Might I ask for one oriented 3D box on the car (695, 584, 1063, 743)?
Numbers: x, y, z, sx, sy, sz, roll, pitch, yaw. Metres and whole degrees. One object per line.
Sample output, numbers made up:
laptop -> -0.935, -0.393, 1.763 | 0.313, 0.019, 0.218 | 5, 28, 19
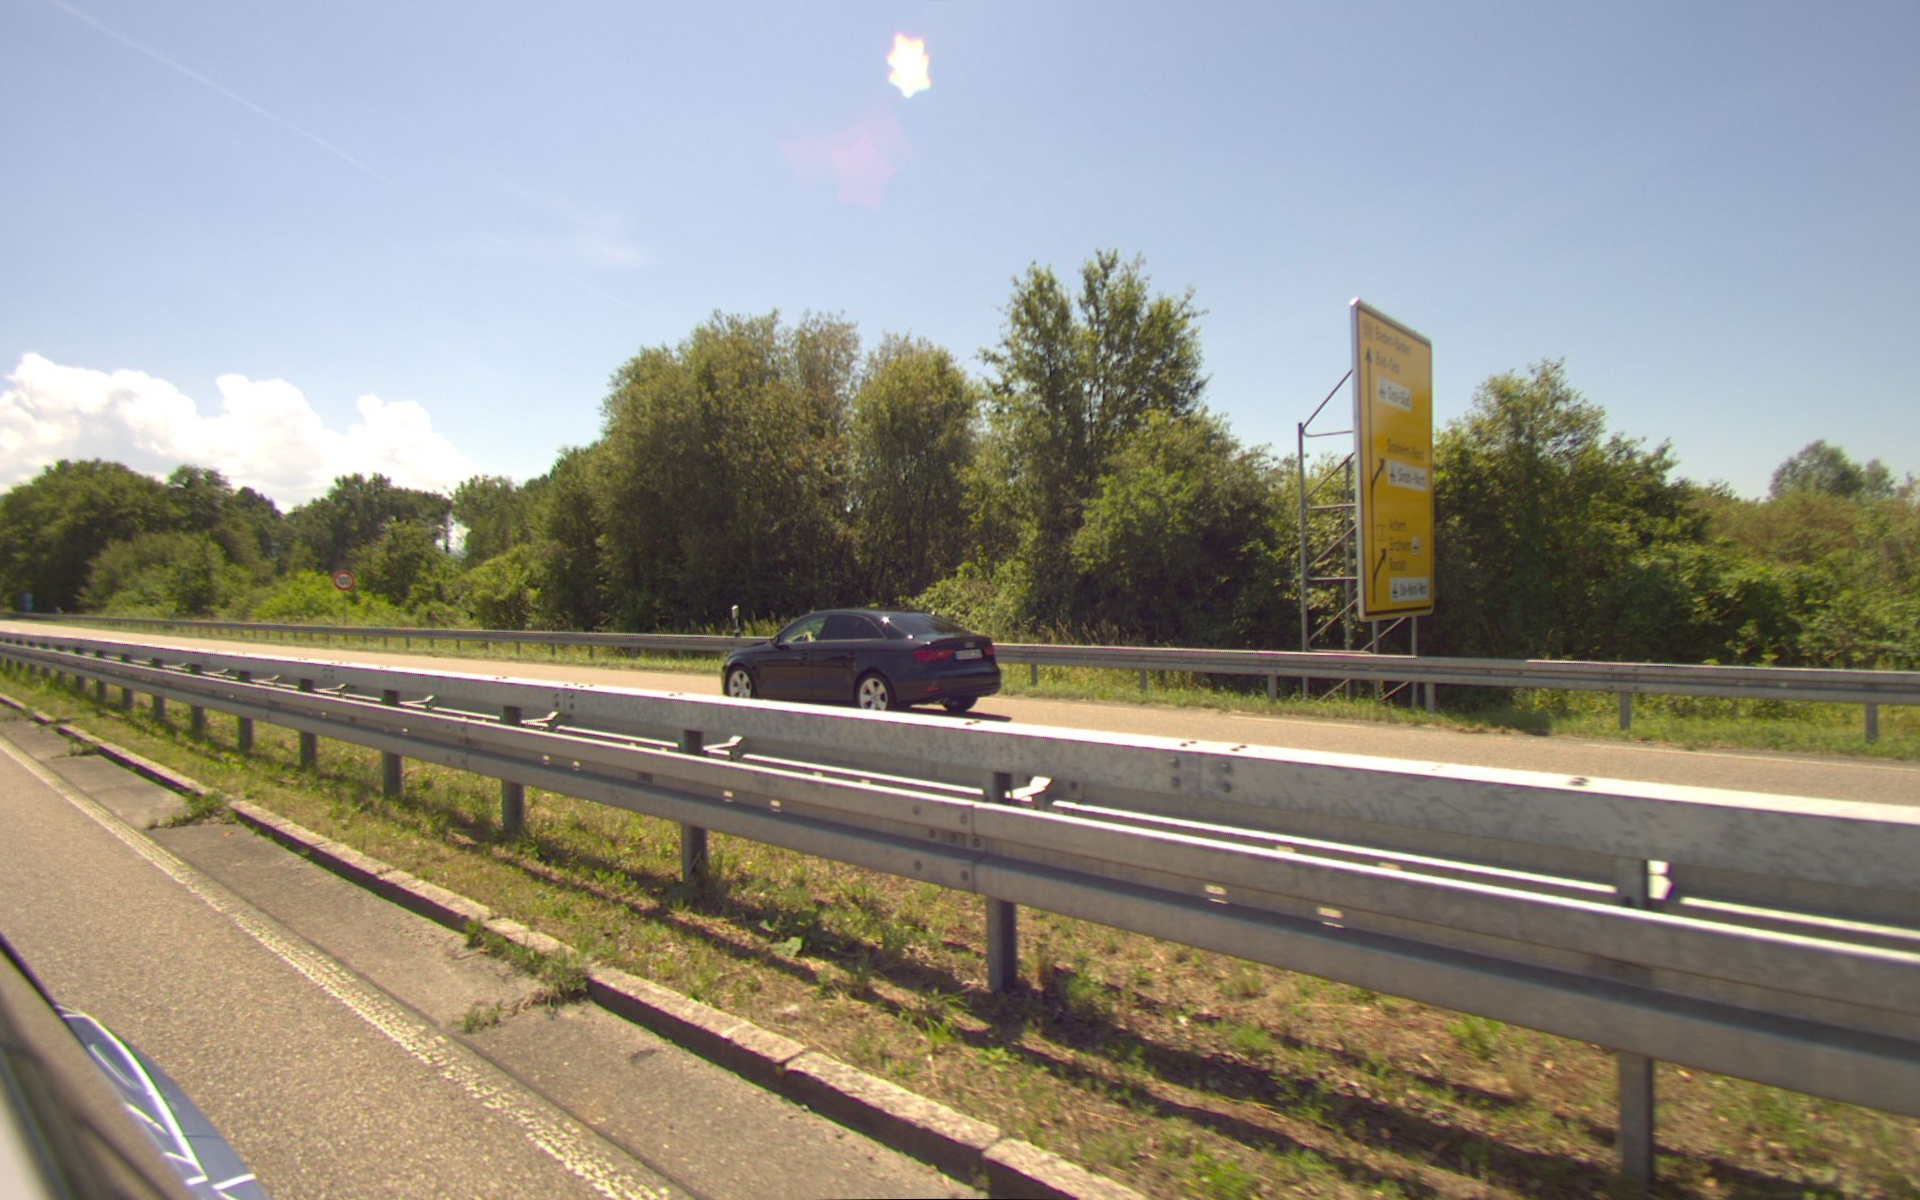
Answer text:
car -> -1.228, 0.740, 13.395 | 4.871, 1.649, 1.973 | -2, 2, 42
